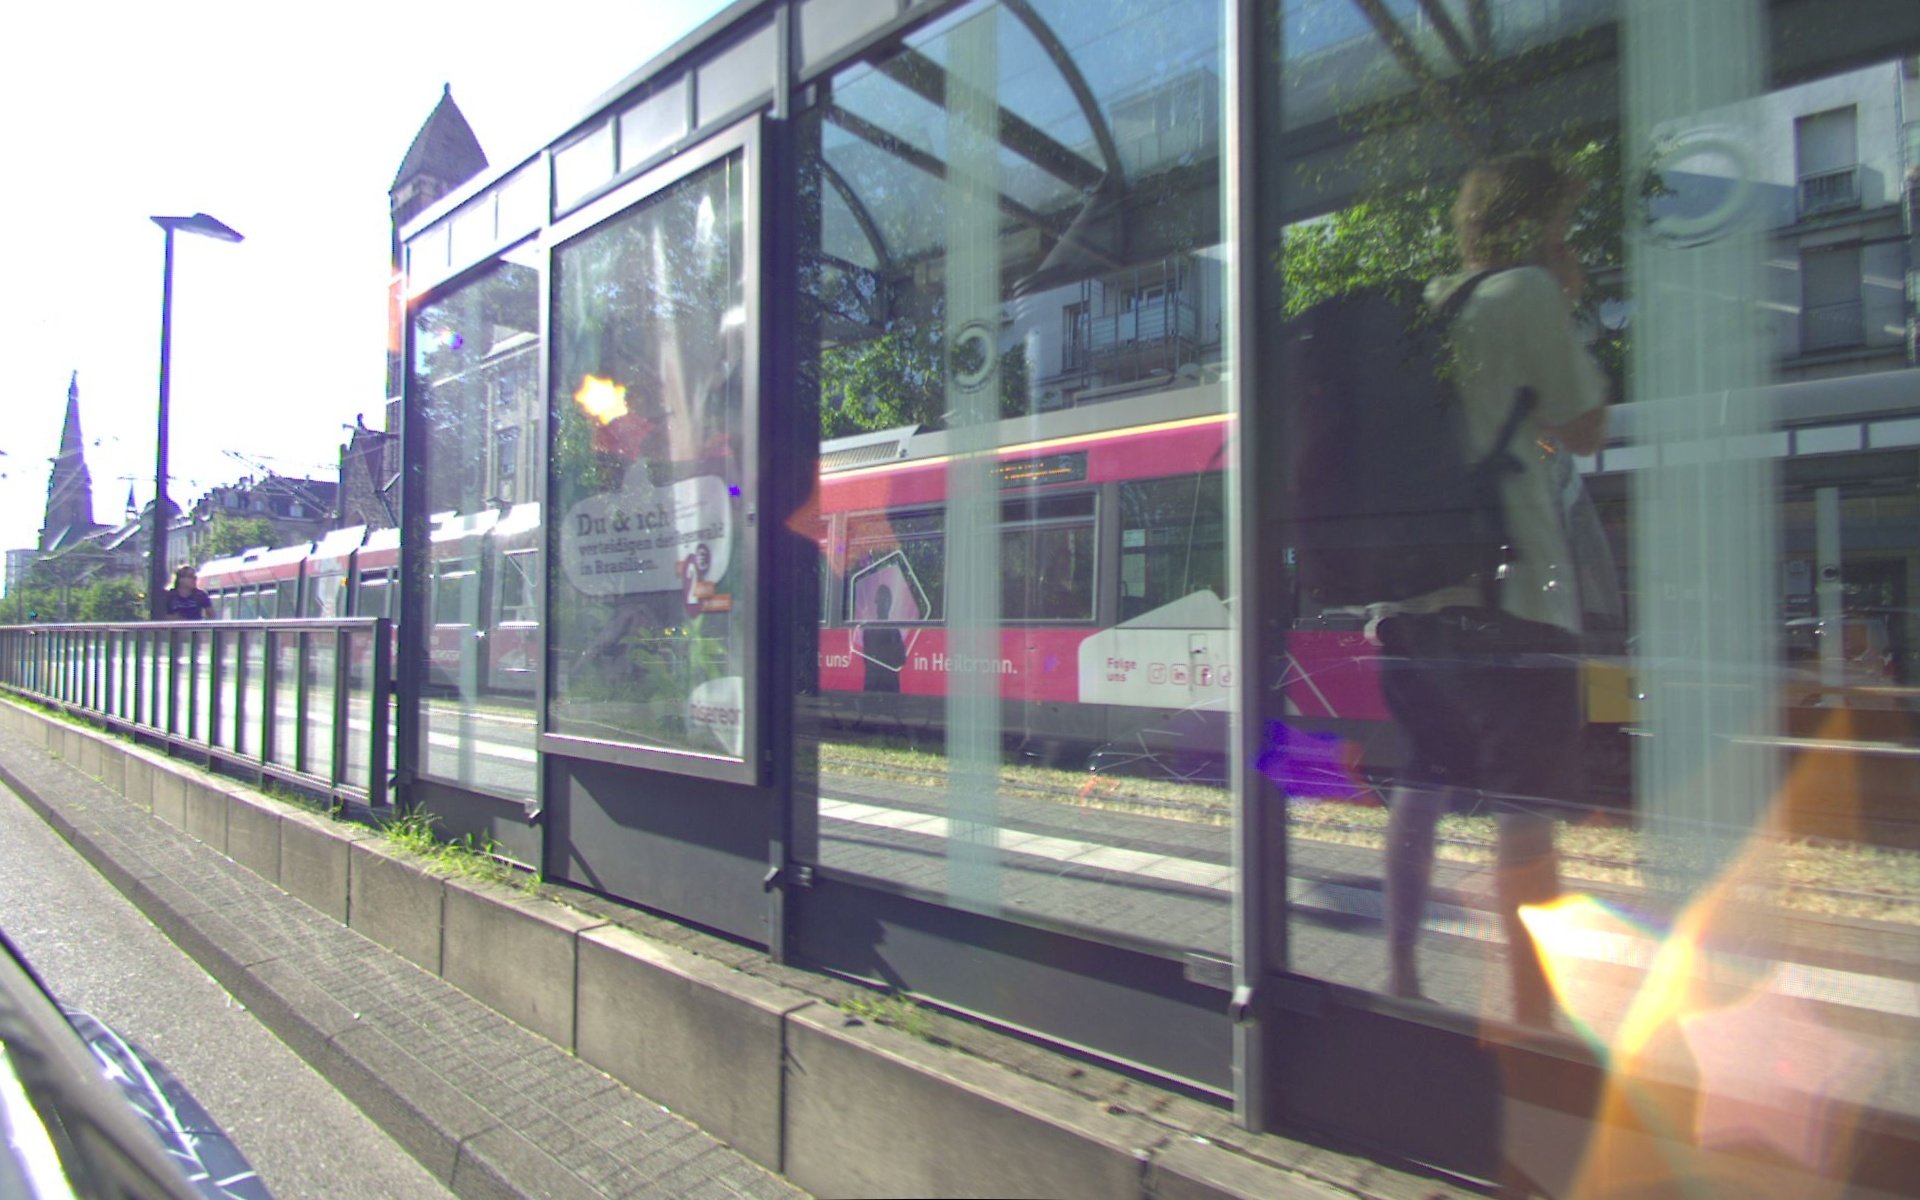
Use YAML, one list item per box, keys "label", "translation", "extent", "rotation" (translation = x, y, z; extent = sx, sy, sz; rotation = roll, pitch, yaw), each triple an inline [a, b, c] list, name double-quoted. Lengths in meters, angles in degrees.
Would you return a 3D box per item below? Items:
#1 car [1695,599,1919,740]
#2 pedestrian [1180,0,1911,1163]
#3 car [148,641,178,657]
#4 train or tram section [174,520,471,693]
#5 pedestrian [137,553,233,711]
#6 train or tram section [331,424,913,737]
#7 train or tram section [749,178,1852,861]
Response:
- label: "car"
  translation: [14.824, 1.102, 17.035]
  extent: [3.783, 2.183, 1.920]
  rotation: [-2, -1, 41]
- label: "pedestrian"
  translation: [1.041, -0.138, 2.002]
  extent: [0.850, 1.917, 0.848]
  rotation: [-1, -1, -14]
- label: "car"
  translation: [-82.523, 5.027, 104.803]
  extent: [4.213, 1.541, 1.763]
  rotation: [-2, -1, 42]
- label: "train or tram section"
  translation: [-17.898, 0.349, 27.541]
  extent: [14.554, 3.704, 2.839]
  rotation: [-2, -3, 42]
- label: "pedestrian"
  translation: [-8.425, 0.340, 10.999]
  extent: [0.981, 1.622, 0.623]
  rotation: [-2, -1, 40]
- label: "train or tram section"
  translation: [-7.025, -0.017, 17.879]
  extent: [14.554, 3.714, 2.839]
  rotation: [-2, -3, 42]
- label: "train or tram section"
  translation: [2.079, -0.298, 9.769]
  extent: [9.680, 3.714, 2.839]
  rotation: [-2, -3, 42]
